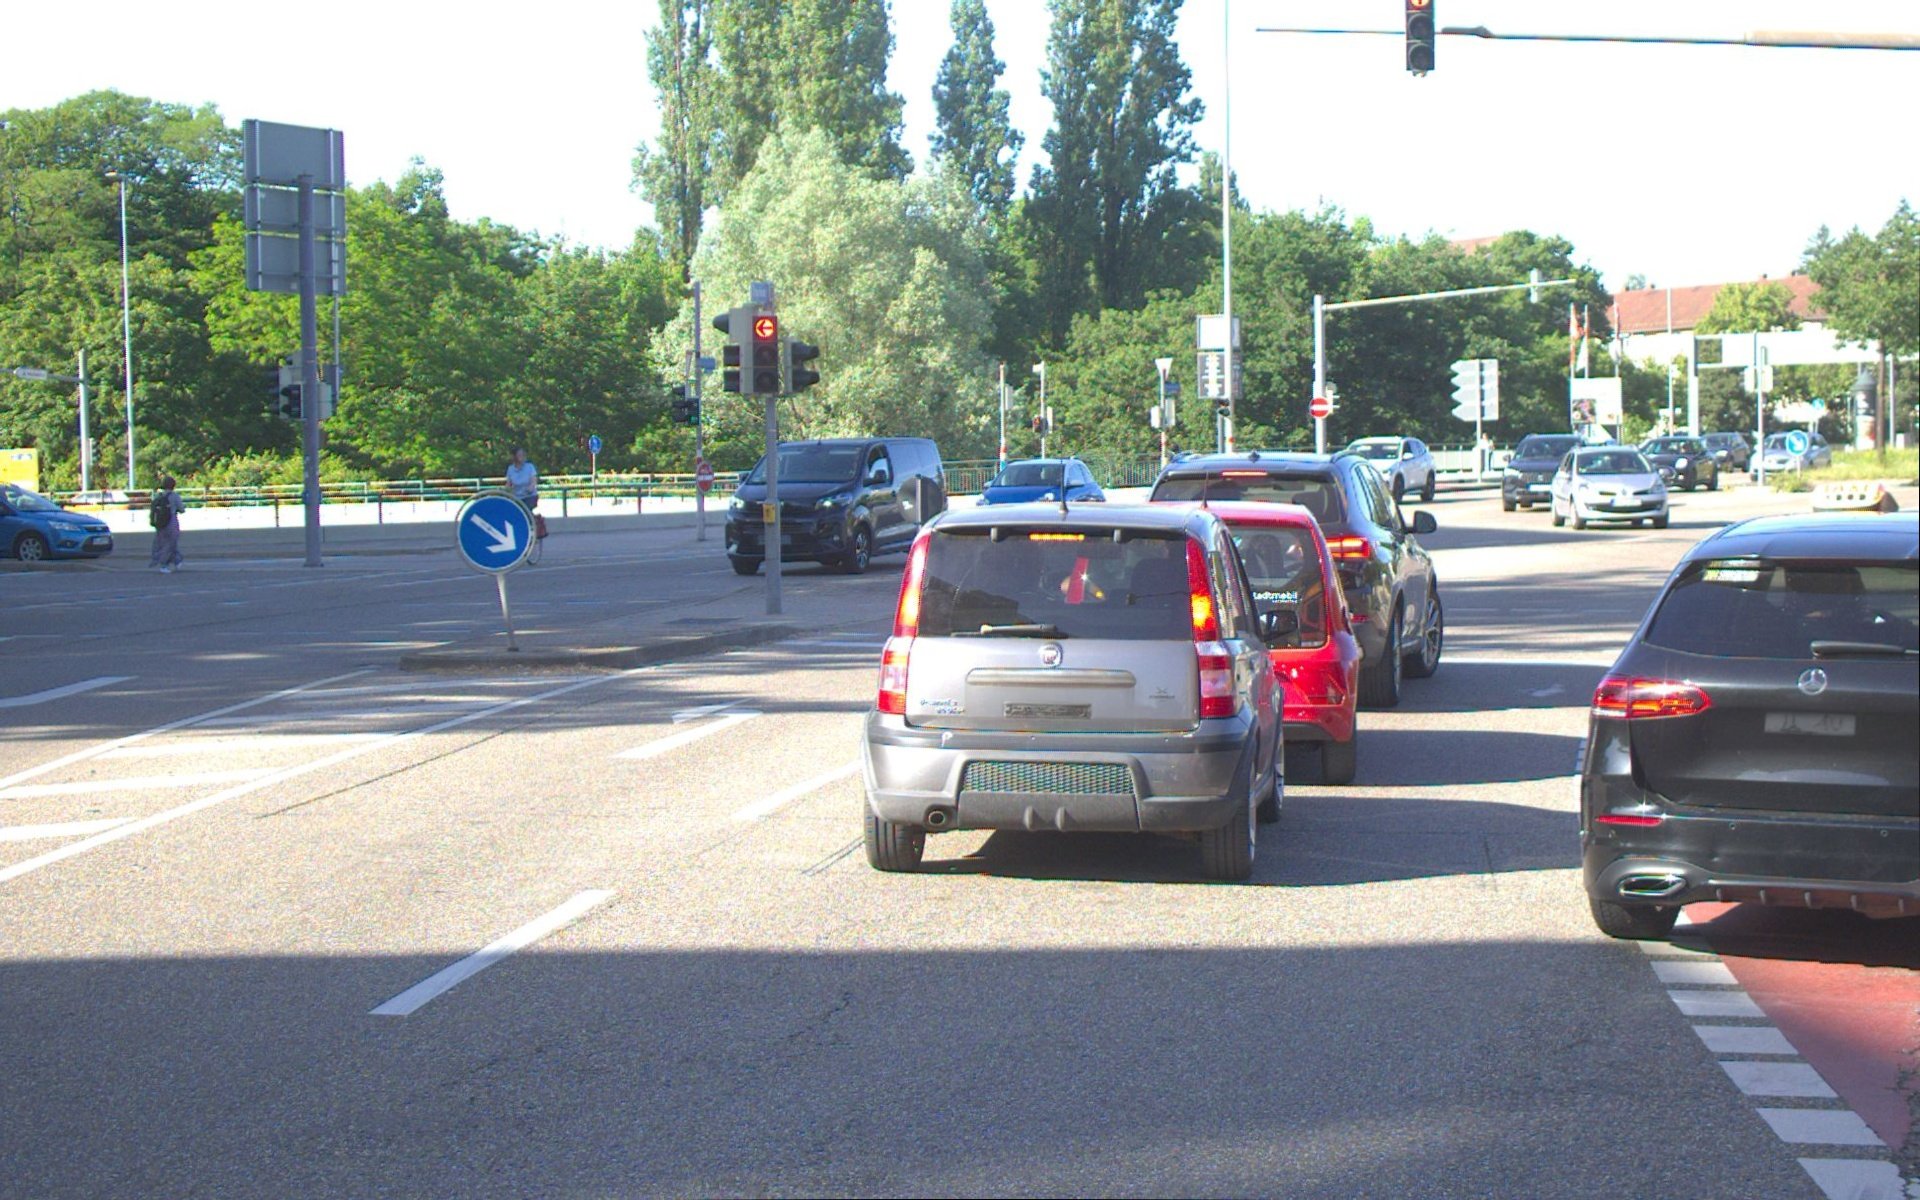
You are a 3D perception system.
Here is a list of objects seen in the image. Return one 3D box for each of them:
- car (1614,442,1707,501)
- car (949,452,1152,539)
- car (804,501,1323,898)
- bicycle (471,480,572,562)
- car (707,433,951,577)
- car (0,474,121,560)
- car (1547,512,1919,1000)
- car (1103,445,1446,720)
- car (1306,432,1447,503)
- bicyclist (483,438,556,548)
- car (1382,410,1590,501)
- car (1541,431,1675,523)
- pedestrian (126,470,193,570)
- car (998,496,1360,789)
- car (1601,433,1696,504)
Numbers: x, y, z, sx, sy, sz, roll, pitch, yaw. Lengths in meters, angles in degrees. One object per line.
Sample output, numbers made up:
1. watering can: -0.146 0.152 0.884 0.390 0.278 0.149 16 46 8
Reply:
1. car: 18.228 -3.347 89.342 1.995 1.448 3.997 -1 2 17
2. car: 1.730 -1.968 64.085 1.823 1.498 4.444 0 3 31
3. car: 0.601 0.325 15.332 1.821 1.484 3.999 0 2 9
4. bicycle: -6.826 -1.244 53.653 0.687 1.198 2.326 0 3 16
5. car: -1.792 -1.396 49.091 1.995 1.928 4.848 0 2 17
6. car: -17.219 -1.452 60.653 4.441 1.433 1.824 0 2 23
7. car: 3.601 0.447 12.737 1.753 1.488 3.995 2 2 26
8. car: 2.378 -0.219 24.977 1.870 1.784 4.412 1 3 13
9. car: 10.255 -3.254 84.329 1.836 1.647 4.622 0 3 28
10. bicyclist: -6.859 -1.676 53.544 0.687 1.695 1.197 0 3 16
11. car: 11.507 -3.136 75.437 1.994 1.829 4.359 0 0 -36
12. car: 11.738 -2.250 62.497 1.820 1.577 4.104 -1 2 3
13. pedestrian: -12.554 -1.247 53.955 0.686 1.533 1.366 0 0 2
14. car: 1.347 0.160 19.596 1.820 1.474 3.999 0 2 7
15. car: 16.033 -3.075 79.959 1.724 1.577 4.001 0 2 18
